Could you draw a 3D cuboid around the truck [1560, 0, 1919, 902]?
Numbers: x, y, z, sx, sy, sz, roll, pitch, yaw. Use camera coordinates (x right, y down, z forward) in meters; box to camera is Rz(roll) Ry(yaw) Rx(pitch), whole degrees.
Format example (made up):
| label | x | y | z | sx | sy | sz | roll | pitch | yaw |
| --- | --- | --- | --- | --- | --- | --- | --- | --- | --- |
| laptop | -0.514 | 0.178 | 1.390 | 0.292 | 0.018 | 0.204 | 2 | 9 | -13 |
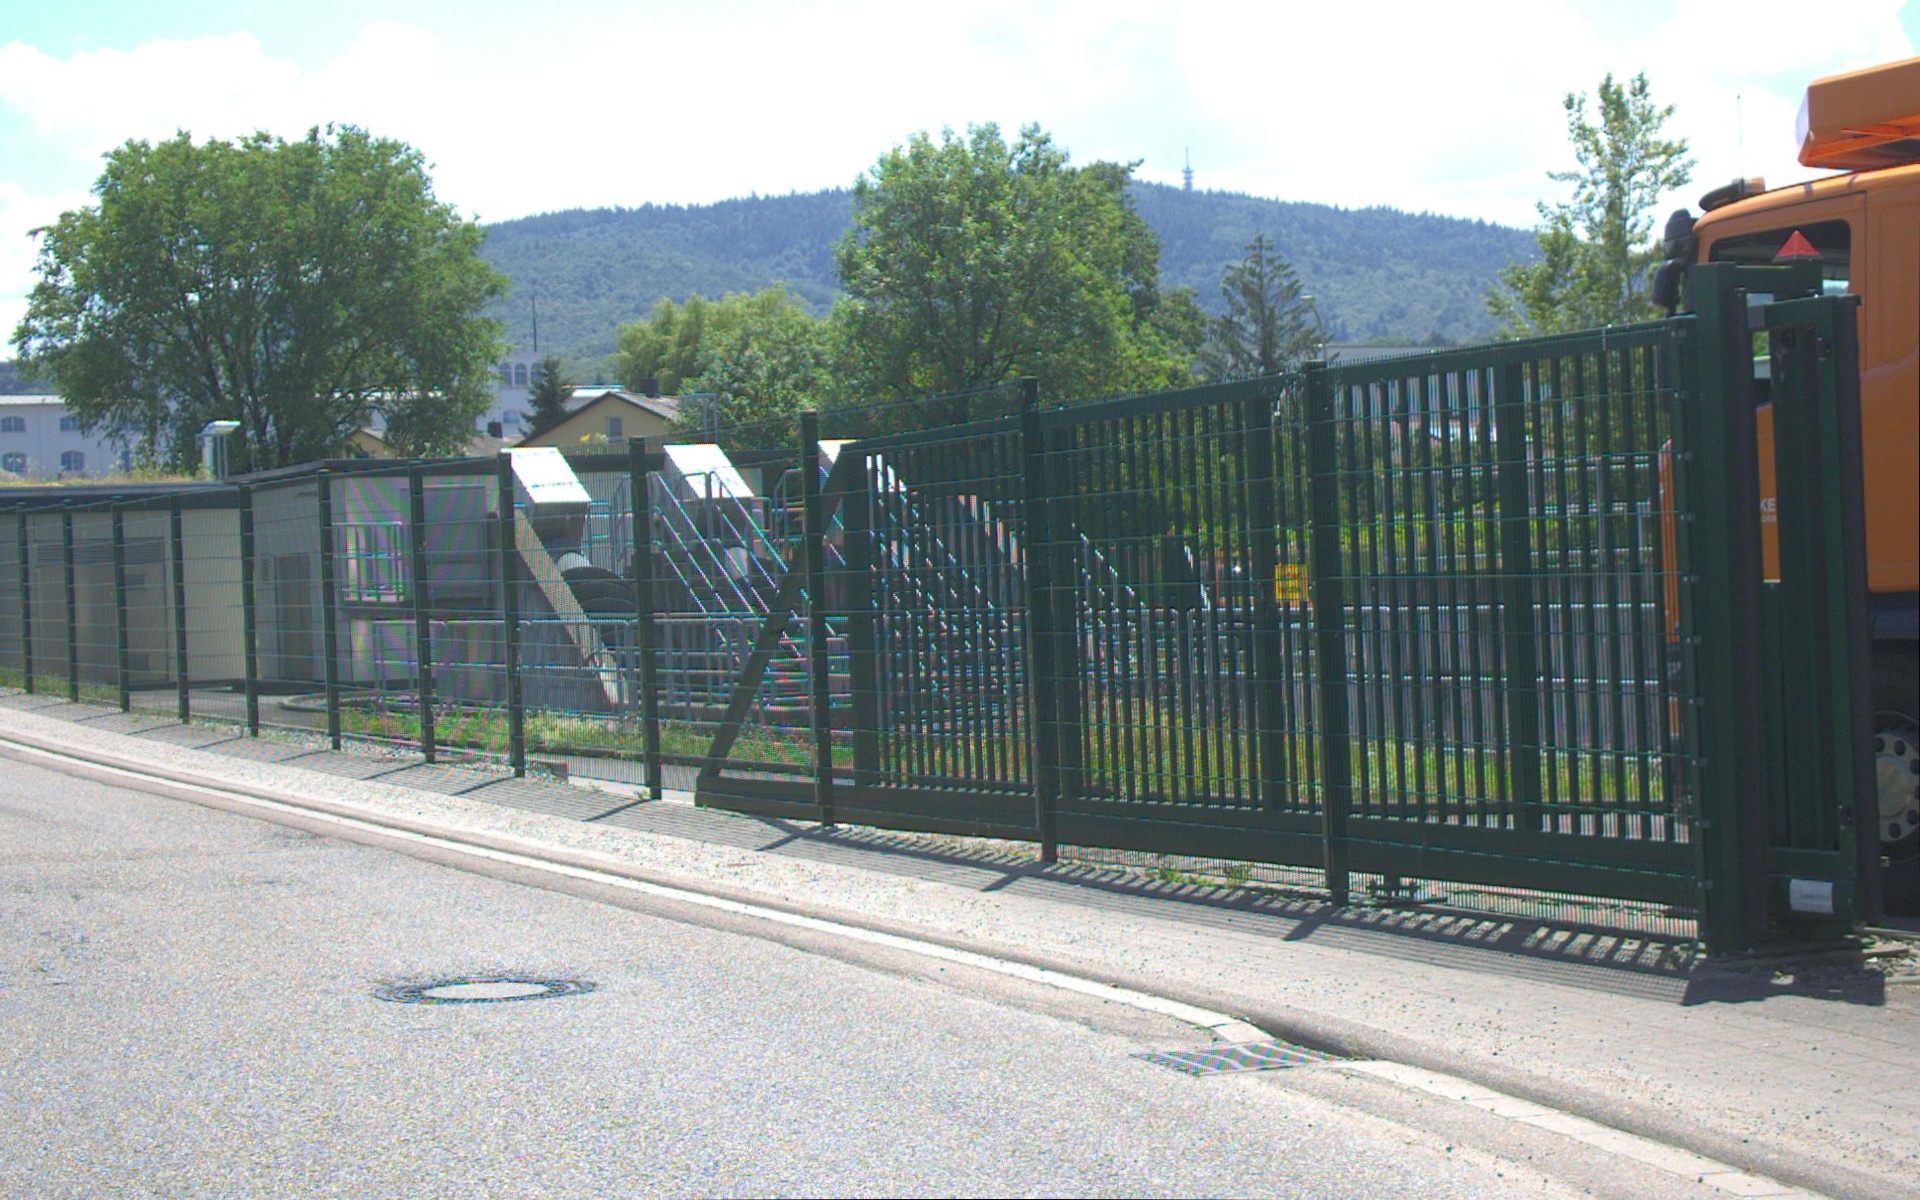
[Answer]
| label | x | y | z | sx | sy | sz | roll | pitch | yaw |
| --- | --- | --- | --- | --- | --- | --- | --- | --- | --- |
| truck | 6.695 | -0.884 | 12.030 | 4.151 | 3.793 | 8.611 | -3 | 1 | -33 |
